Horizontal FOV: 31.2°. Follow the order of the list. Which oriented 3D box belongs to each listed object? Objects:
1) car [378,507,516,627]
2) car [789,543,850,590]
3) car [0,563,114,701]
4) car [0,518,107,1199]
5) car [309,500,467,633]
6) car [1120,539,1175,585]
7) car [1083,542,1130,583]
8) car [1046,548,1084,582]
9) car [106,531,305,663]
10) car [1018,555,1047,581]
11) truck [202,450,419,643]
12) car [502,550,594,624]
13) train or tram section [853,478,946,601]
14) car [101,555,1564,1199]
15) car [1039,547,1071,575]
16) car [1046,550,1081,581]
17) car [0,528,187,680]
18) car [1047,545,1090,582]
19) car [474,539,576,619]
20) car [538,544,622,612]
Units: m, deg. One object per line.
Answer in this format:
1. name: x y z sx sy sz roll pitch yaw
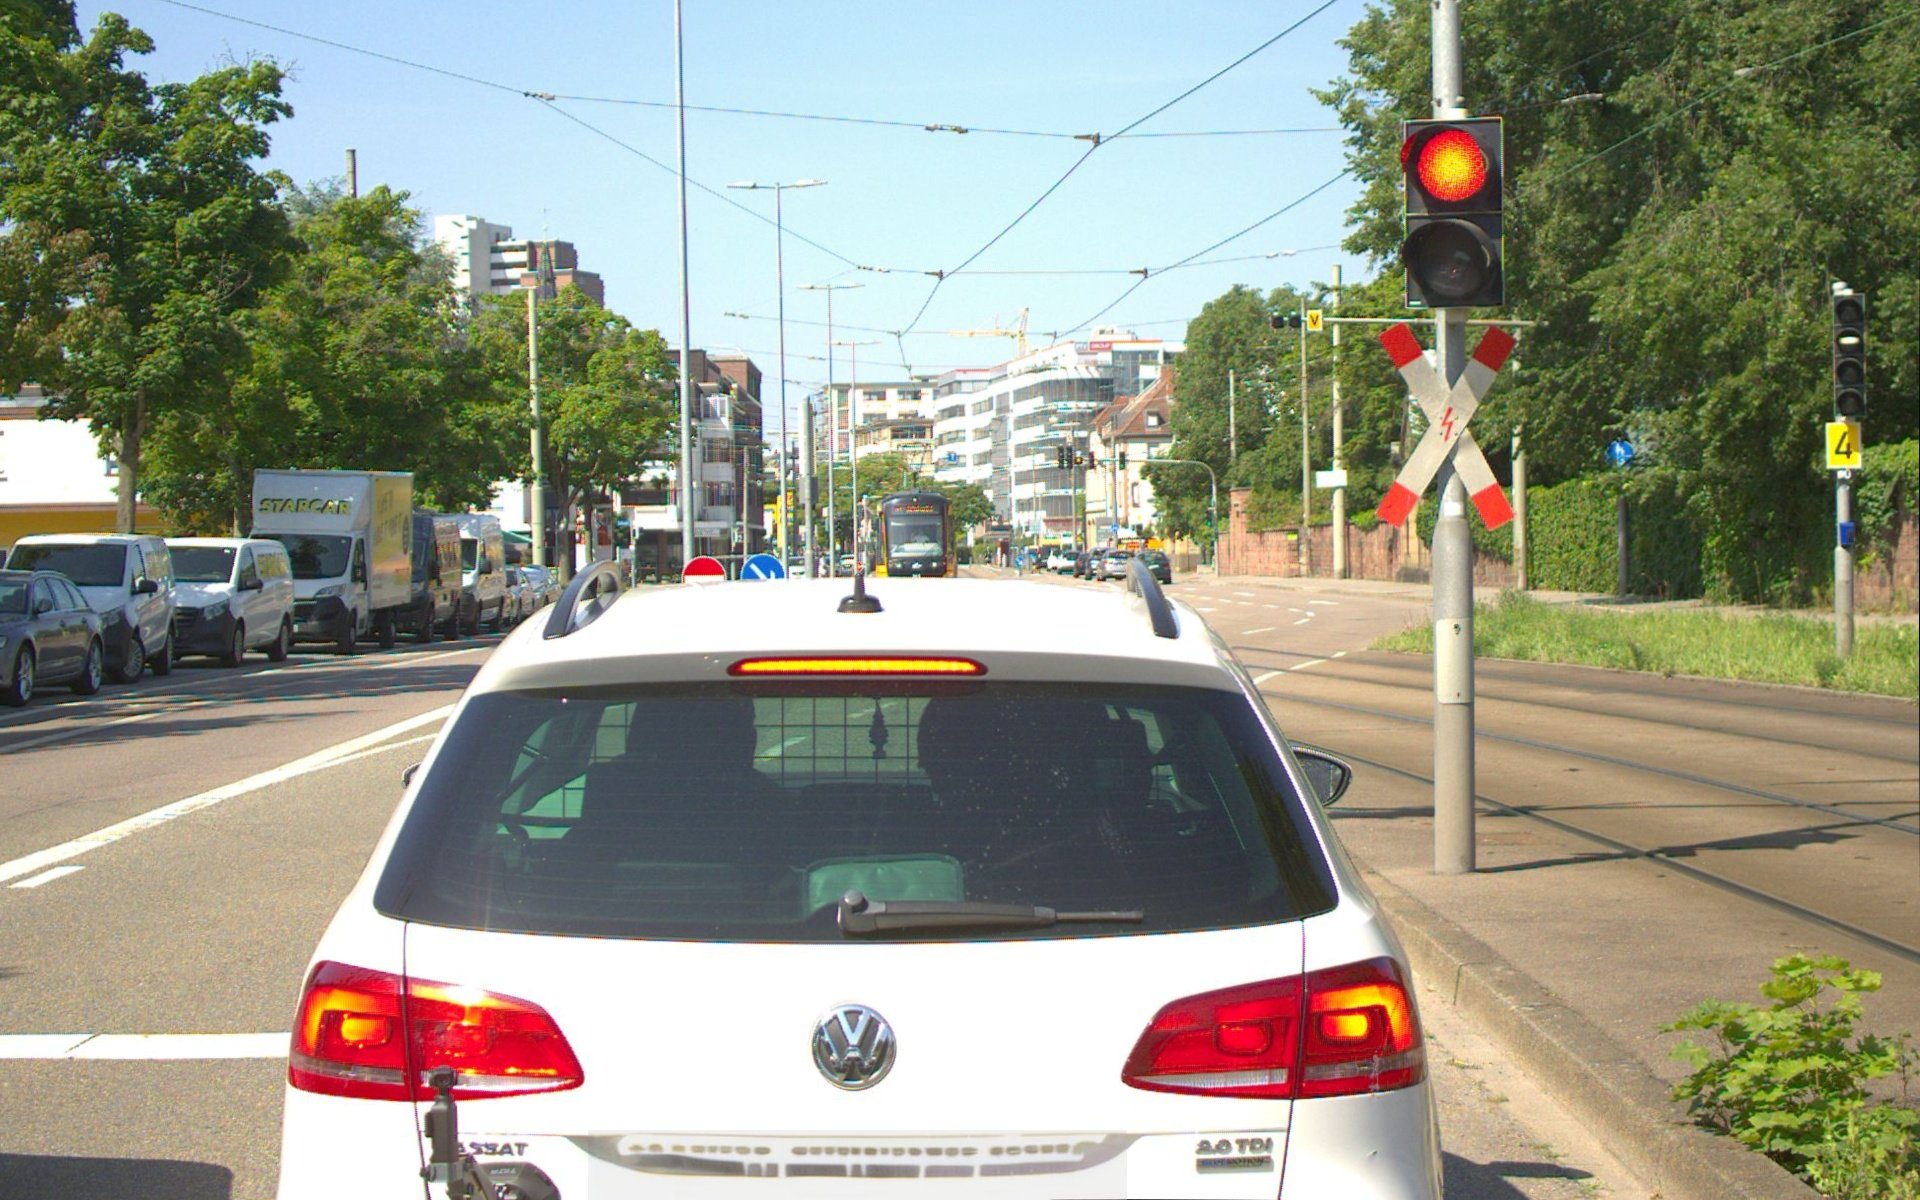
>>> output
1. car: -11.245 -0.748 75.757 2.123 2.508 5.733 1 1 0
2. car: -4.552 -1.110 111.893 1.705 1.468 4.589 -2 1 1
3. car: -10.962 0.312 38.714 1.863 1.411 4.280 1 1 -1
4. car: -2.958 0.615 6.231 1.662 1.542 4.547 0 1 0
5. car: -11.299 -0.687 68.321 2.123 2.508 5.733 1 1 0
6. car: 7.870 -1.626 144.726 1.863 1.861 5.062 1 1 -1
7. car: 6.830 -1.759 160.603 1.863 1.861 5.062 1 1 -1
8. car: 5.880 -1.991 193.148 1.863 1.861 5.062 1 1 -1
9. car: -11.319 -0.093 51.903 1.863 1.861 5.414 1 1 -1
10. car: 5.265 -2.359 250.817 1.863 1.861 5.062 1 1 -1
11. truck: -11.287 -0.943 60.317 2.421 3.139 6.997 1 1 0
12. car: -10.947 -0.373 91.687 1.863 1.861 5.414 1 1 -1
13. train or tram section: -1.999 -2.036 115.392 2.870 3.842 12.392 -1 1 -1
14. car: -0.166 0.663 6.192 1.762 1.425 4.000 -1 1 -1
15. car: 6.496 -2.685 236.042 1.863 1.861 5.062 1 1 -1
16. car: 6.490 -2.183 215.684 1.863 1.861 5.062 1 1 -1
17. car: -11.453 -0.001 45.310 1.863 1.861 5.075 1 1 -6
18. car: 5.579 -1.901 177.271 1.863 1.861 5.062 1 1 -1
19. car: -10.697 -0.550 84.869 1.863 1.861 5.414 1 1 -1
20. car: -10.861 -0.648 98.601 1.863 1.861 5.414 1 1 -1
